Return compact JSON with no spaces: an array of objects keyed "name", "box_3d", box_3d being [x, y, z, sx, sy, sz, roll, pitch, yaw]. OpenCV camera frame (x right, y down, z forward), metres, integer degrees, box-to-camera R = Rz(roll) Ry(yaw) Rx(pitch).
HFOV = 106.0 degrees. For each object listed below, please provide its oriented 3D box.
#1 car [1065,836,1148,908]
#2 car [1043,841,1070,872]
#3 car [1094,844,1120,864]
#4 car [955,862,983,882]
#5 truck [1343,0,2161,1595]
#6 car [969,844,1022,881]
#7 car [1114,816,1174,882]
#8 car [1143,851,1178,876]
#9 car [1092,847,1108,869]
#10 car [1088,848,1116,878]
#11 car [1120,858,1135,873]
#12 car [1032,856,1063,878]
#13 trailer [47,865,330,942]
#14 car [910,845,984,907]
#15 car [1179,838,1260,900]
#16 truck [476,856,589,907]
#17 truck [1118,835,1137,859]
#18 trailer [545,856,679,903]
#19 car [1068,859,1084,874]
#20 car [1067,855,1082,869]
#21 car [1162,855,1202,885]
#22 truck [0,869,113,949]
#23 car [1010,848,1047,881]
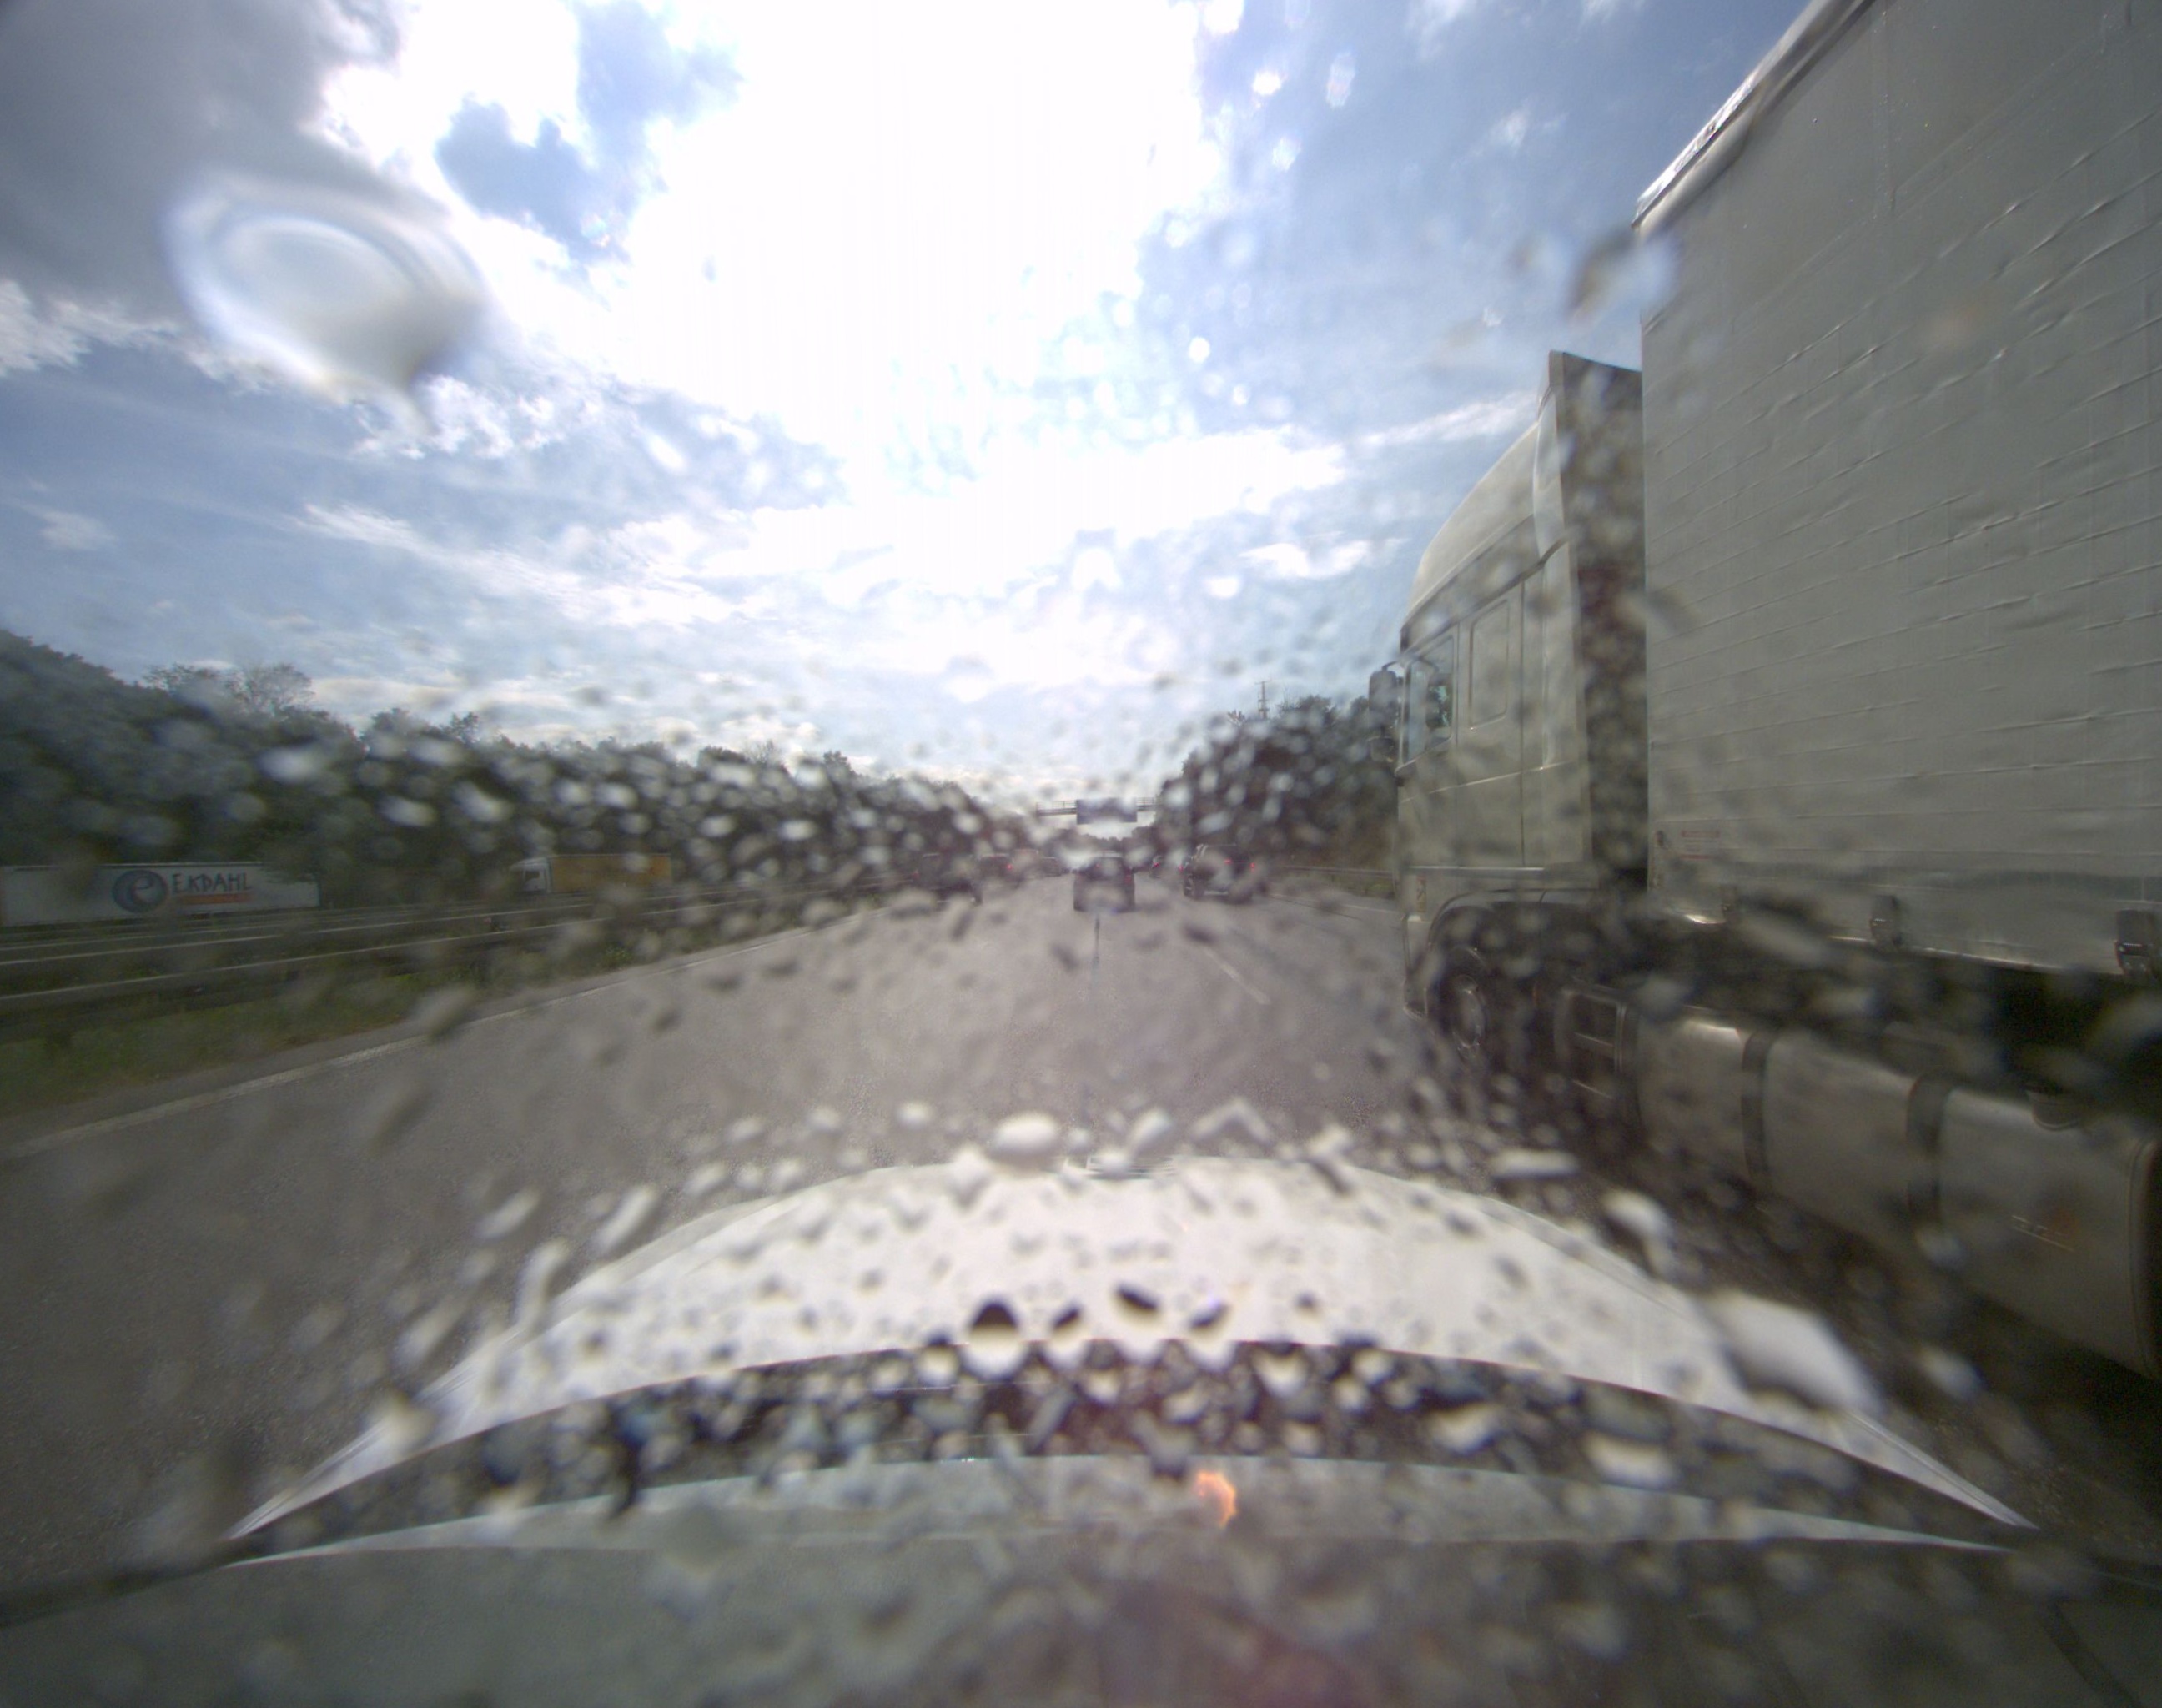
[{"name":"car","box_3d":[0.719,0.522,24.974,2.267,1.954,4.820,-1,-1,0]},{"name":"car","box_3d":[-2.096,0.206,71.265,1.986,2.615,5.262,-1,-1,2]},{"name":"car","box_3d":[2.009,0.041,64.013,1.859,1.516,3.974,-1,-1,-1]},{"name":"car","box_3d":[-10.999,1.730,80.285,1.946,1.891,5.059,-1,-1,1]},{"name":"truck","box_3d":[3.725,-0.525,3.357,3.273,3.891,6.396,0,0,0]},{"name":"car","box_3d":[-4.098,0.425,39.846,1.901,1.636,4.619,-2,-1,2]},{"name":"car","box_3d":[5.943,-0.352,80.399,4.390,5.830,16.811,-1,-1,-1]},{"name":"car","box_3d":[5.123,0.623,52.941,1.859,1.516,3.974,-1,-1,-1]},{"name":"car","box_3d":[2.455,0.492,106.427,1.986,2.746,5.262,-1,-1,2]},{"name":"car","box_3d":[1.317,0.574,52.120,1.687,1.805,3.975,-1,-1,0]},{"name":"car","box_3d":[6.524,1.643,115.224,1.986,2.115,4.891,-1,-1,2]},{"name":"car","box_3d":[-2.457,0.929,61.270,1.986,1.565,4.758,-1,-1,2]},{"name":"trailer","box_3d":[-50.459,2.610,46.829,3.767,3.649,10.523,-2,0,9]},{"name":"car","box_3d":[-4.190,0.665,25.986,1.687,1.805,3.975,-1,-1,0]},{"name":"car","box_3d":[4.649,0.502,28.156,1.935,1.919,5.652,-1,-1,1]},{"name":"truck","box_3d":[-45.909,2.229,68.477,3.760,4.117,7.073,-1,-1,15]},{"name":"truck","box_3d":[7.230,-1.005,127.473,2.765,3.632,5.919,-1,-1,2]},{"name":"trailer","box_3d":[-43.723,2.283,76.657,3.760,4.117,11.771,-1,-1,15]},{"name":"car","box_3d":[-0.705,1.839,117.303,1.986,2.115,4.891,-1,-1,2]},{"name":"car","box_3d":[-1.010,1.239,125.108,1.986,2.115,4.891,-1,-1,2]},{"name":"car","box_3d":[5.330,0.811,43.468,1.586,1.516,3.975,-1,-1,0]},{"name":"truck","box_3d":[-51.618,2.592,38.377,3.768,3.660,6.717,-1,-1,7]},{"name":"car","box_3d":[-3.451,0.683,54.477,1.971,2.054,4.758,-1,-1,2]}]
